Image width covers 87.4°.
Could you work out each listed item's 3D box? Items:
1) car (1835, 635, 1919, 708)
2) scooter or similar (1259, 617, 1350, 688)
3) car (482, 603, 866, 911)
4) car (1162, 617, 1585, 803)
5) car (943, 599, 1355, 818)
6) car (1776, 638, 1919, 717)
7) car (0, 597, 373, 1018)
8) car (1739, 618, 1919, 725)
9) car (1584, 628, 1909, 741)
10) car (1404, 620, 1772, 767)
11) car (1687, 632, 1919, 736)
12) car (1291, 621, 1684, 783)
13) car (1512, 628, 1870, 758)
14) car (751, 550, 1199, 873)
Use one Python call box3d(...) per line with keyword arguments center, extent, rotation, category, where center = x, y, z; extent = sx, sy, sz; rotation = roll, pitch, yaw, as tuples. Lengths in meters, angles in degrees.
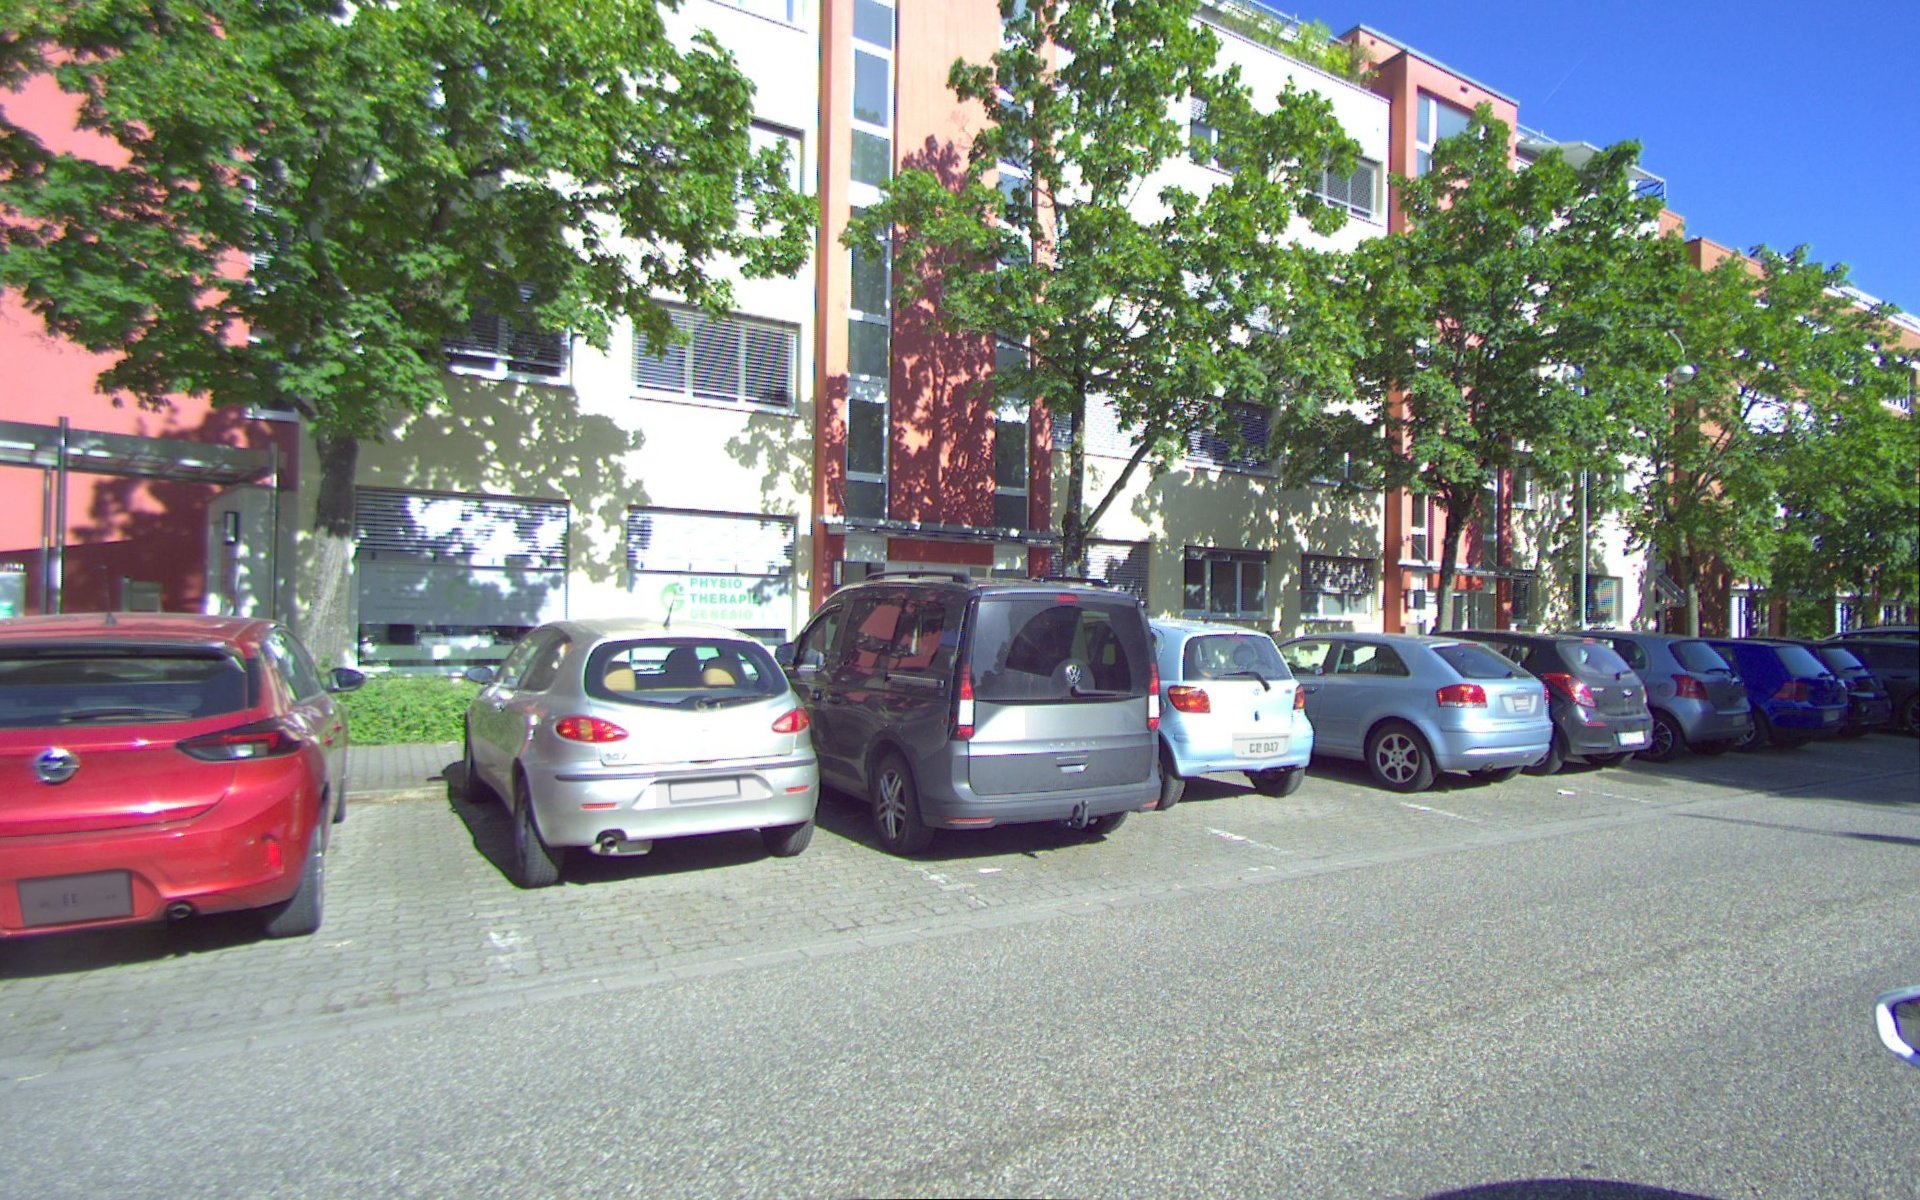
box3d(center=(20.958, 1.554, 20.972), extent=(1.705, 1.446, 3.707), rotation=(2, 0, -30), category="car")
box3d(center=(7.417, 1.130, 21.577), extent=(2.085, 1.465, 0.651), rotation=(2, -2, -30), category="scooter or similar")
box3d(center=(-2.248, 0.800, 7.046), extent=(1.719, 1.442, 3.874), rotation=(2, 0, -29), category="car")
box3d(center=(4.132, 0.979, 10.570), extent=(1.856, 1.466, 3.704), rotation=(2, 0, -33), category="car")
box3d(center=(1.571, 0.843, 9.701), extent=(1.837, 1.595, 3.874), rotation=(2, 0, -29), category="car")
box3d(center=(18.814, 1.539, 19.480), extent=(1.737, 1.376, 4.299), rotation=(2, 0, -30), category="car")
box3d(center=(-4.202, 0.751, 5.371), extent=(1.719, 1.442, 3.874), rotation=(2, 0, -29), category="car")
box3d(center=(16.996, 1.284, 18.068), extent=(1.941, 1.740, 4.297), rotation=(2, 0, -32), category="car")
box3d(center=(12.425, 1.252, 16.103), extent=(1.752, 1.446, 3.707), rotation=(2, 0, -30), category="car")
box3d(center=(8.148, 1.108, 13.361), extent=(1.838, 1.528, 3.707), rotation=(2, 0, -30), category="car")
box3d(center=(14.898, 1.352, 16.572), extent=(1.753, 1.446, 4.379), rotation=(2, 0, -31), category="car")
box3d(center=(6.052, 1.060, 11.912), extent=(1.840, 1.466, 3.704), rotation=(2, 0, -33), category="car")
box3d(center=(10.214, 1.206, 14.317), extent=(1.819, 1.446, 3.707), rotation=(2, 0, -30), category="car")
box3d(center=(-0.162, 0.631, 7.838), extent=(1.764, 1.835, 3.874), rotation=(2, 0, -29), category="car")
